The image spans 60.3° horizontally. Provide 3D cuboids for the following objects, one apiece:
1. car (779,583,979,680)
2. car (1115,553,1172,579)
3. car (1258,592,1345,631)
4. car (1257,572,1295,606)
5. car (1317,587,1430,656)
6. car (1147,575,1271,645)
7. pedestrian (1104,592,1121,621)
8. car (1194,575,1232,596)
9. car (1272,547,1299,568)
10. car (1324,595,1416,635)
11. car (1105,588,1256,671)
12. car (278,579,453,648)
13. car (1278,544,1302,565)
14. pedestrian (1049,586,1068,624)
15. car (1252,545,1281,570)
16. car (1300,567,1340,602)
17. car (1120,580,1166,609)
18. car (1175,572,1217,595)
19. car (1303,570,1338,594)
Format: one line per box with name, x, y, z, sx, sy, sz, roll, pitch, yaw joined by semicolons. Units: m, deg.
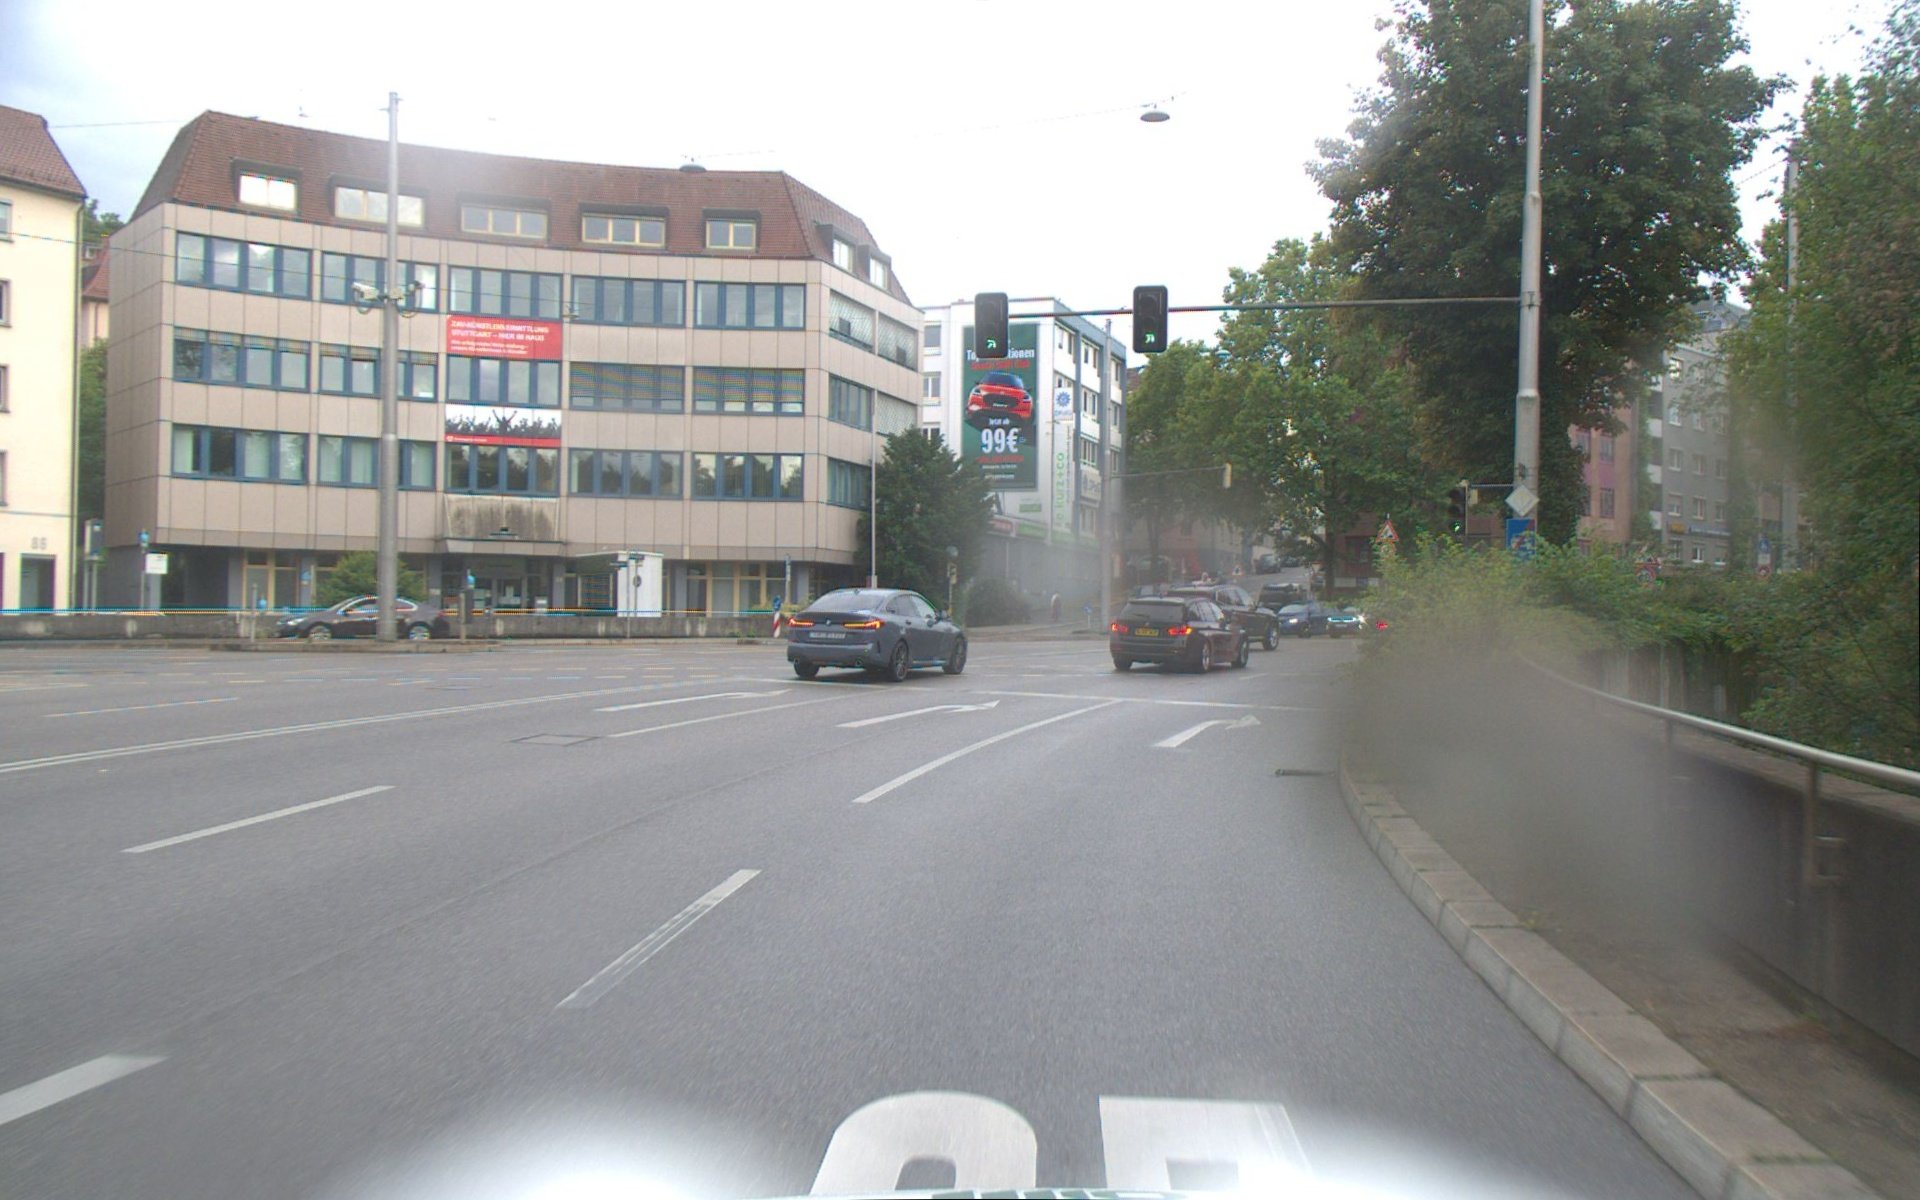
car;-1.225;0.488;27.237;1.753;1.451;4.385;0;0;20
car;15.047;-2.784;135.480;4.323;2.041;2.001;0;-1;15
car;14.170;0.502;68.506;1.736;1.539;4.096;-1;-1;42
car;18.424;-0.643;96.317;1.890;1.900;4.004;2;1;14
car;9.330;0.496;37.099;1.918;1.451;4.124;0;-1;22
car;6.500;0.283;42.831;1.864;1.723;3.992;-1;-1;30
pedestrian;9.361;0.416;101.574;0.821;1.748;0.982;0;-1;20
car;18.243;-1.061;118.974;1.795;1.456;4.070;-1;1;22
car;30.756;-4.015;156.234;1.952;1.874;4.003;0;3;18
car;16.357;0.632;65.937;1.791;1.539;4.206;-1;-1;42
car;4.405;0.536;32.424;1.755;1.451;4.612;1;0;23
car;-16.924;0.396;47.134;4.382;1.875;1.978;1;-1;-32
car;33.195;-4.583;166.339;1.952;1.874;4.003;0;3;18
pedestrian;5.404;0.277;90.502;0.821;2.049;0.982;0;-1;20
car;26.507;-3.655;143.083;1.952;2.049;4.002;0;-1;18
car;22.333;-0.956;102.388;1.890;1.900;4.003;0;4;20
car;11.159;-0.348;100.499;1.795;1.488;4.180;-1;4;20
car;16.363;-1.119;114.511;1.796;1.456;4.067;-1;-1;25
car;25.899;-1.283;118.769;1.890;1.704;4.001;0;0;20
